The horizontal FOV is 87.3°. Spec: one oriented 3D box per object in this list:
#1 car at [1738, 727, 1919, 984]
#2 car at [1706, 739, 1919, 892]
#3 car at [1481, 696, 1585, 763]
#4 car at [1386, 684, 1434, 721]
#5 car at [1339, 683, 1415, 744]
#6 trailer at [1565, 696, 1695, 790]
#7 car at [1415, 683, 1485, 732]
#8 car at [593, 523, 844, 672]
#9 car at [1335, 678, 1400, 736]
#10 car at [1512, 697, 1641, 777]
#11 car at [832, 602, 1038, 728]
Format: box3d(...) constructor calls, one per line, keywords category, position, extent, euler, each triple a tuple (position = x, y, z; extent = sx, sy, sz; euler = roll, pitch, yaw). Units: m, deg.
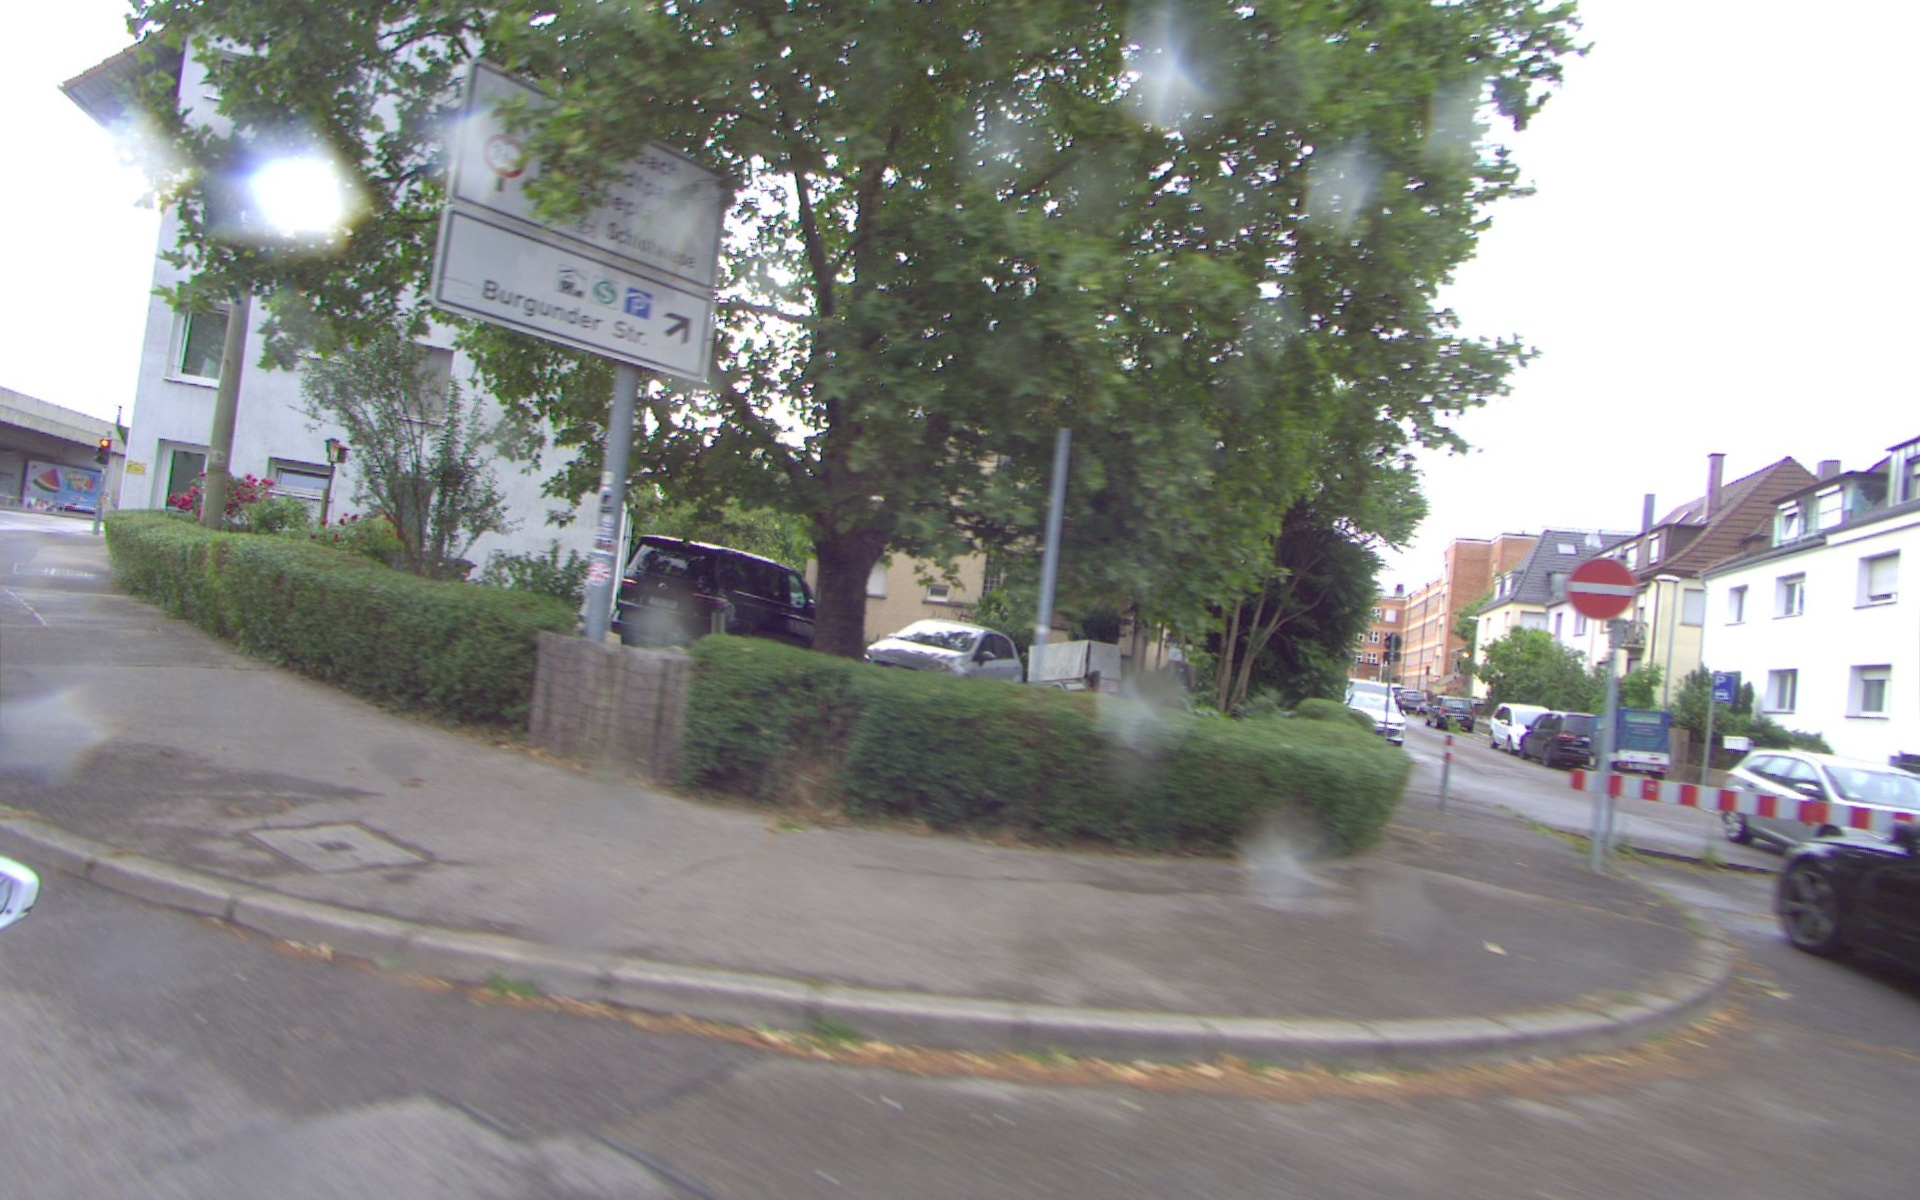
box3d(category="car", position=(7.041, 1.816, 5.919), extent=(1.850, 1.498, 4.822), euler=(8, -1, 13))
box3d(category="car", position=(12.138, 2.900, 13.771), extent=(1.739, 1.470, 3.789), euler=(8, -2, 17))
box3d(category="car", position=(20.648, 4.616, 36.475), extent=(1.962, 1.860, 4.584), euler=(8, -1, 15))
box3d(category="car", position=(29.097, 6.611, 65.151), extent=(1.962, 2.036, 4.006), euler=(7, -2, 14))
box3d(category="car", position=(13.583, 3.659, 32.970), extent=(1.963, 1.575, 4.002), euler=(8, -1, 20))
box3d(category="trailer", position=(18.146, 3.816, 27.426), extent=(1.640, 2.037, 3.495), euler=(8, -1, 14))
box3d(category="car", position=(24.396, 5.303, 50.238), extent=(1.962, 2.036, 4.006), euler=(7, -2, 12))
box3d(category="car", position=(-3.839, 0.095, 16.952), extent=(1.962, 1.954, 4.419), euler=(8, -1, 16))
box3d(category="car", position=(15.423, 3.998, 38.064), extent=(1.963, 1.796, 4.001), euler=(8, -2, 23))
box3d(category="car", position=(19.069, 4.174, 31.364), extent=(1.962, 1.860, 4.584), euler=(8, -1, 15))
box3d(category="car", position=(-0.255, 1.091, 16.621), extent=(1.789, 1.598, 4.002), euler=(8, -2, 22))
